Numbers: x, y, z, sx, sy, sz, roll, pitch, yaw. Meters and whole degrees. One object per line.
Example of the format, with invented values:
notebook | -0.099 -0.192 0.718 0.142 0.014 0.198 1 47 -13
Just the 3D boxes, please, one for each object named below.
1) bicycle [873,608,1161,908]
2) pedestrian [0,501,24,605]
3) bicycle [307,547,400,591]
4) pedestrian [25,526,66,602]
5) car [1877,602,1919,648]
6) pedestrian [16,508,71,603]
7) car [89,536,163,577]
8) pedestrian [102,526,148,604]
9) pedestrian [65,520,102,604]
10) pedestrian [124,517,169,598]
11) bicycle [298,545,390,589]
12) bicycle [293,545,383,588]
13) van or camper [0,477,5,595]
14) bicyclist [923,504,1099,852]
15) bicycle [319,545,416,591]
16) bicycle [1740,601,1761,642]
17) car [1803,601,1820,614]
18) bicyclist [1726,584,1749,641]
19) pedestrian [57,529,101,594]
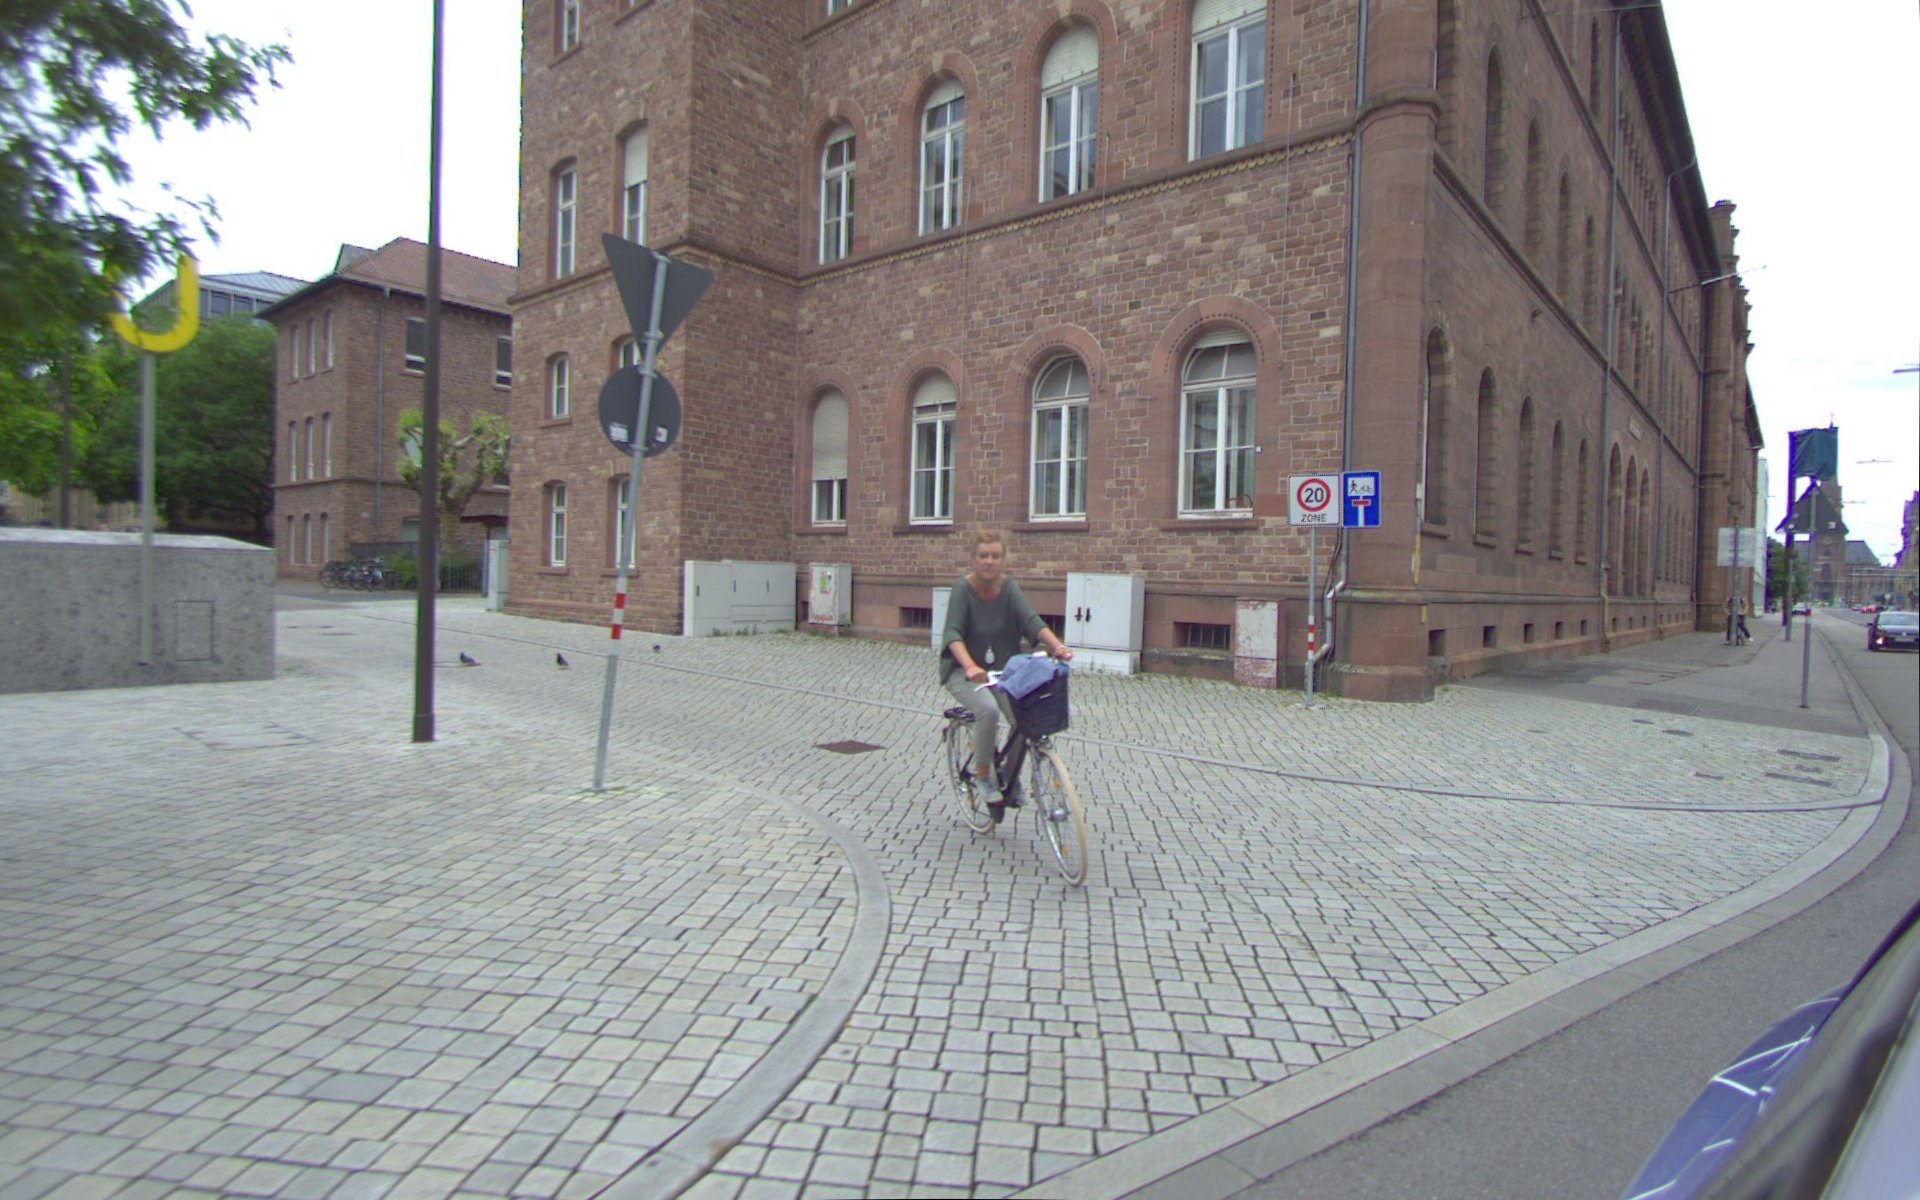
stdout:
bicycle | 0.212 0.720 5.522 0.514 1.276 1.943 1 1 -32
pedestrian | -15.973 -0.781 16.713 0.579 1.691 0.515 2 0 -28
bicycle | -20.454 -1.043 34.168 2.613 1.415 0.589 1 2 -41
pedestrian | -20.706 -0.813 22.915 0.659 1.699 0.528 1 0 32
car | 34.293 0.878 36.361 1.740 1.566 3.599 1 1 39
pedestrian | -16.722 -0.809 18.482 0.579 1.691 0.515 2 0 -28
car | -34.779 -1.781 42.157 3.981 1.582 1.777 1 1 41
pedestrian | -19.344 -0.803 23.447 0.659 1.779 0.624 1 0 31
pedestrian | -20.344 -0.879 23.492 0.660 1.913 0.527 1 0 37
pedestrian | -20.886 -1.079 25.973 0.757 2.039 0.807 1 0 44
bicycle | -21.151 -1.119 34.778 2.613 1.415 0.589 1 2 -41
bicycle | -21.764 -1.151 35.462 2.613 1.415 0.589 1 2 -41
van or camper | -25.102 -1.488 21.762 1.991 2.754 6.465 1 1 40
bicyclist | 0.259 0.373 5.440 0.560 1.705 0.794 1 1 -33
bicycle | -19.142 -1.015 32.739 2.613 1.415 0.589 1 2 -41
bicycle | 26.653 0.696 34.105 0.445 1.292 2.195 4 3 39
car | 122.626 1.074 145.741 1.828 1.683 3.942 1 1 40
bicyclist | 26.259 0.403 34.168 0.528 1.881 0.444 3 2 40
pedestrian | -22.340 -0.970 25.670 0.524 1.642 0.664 0 0 1
